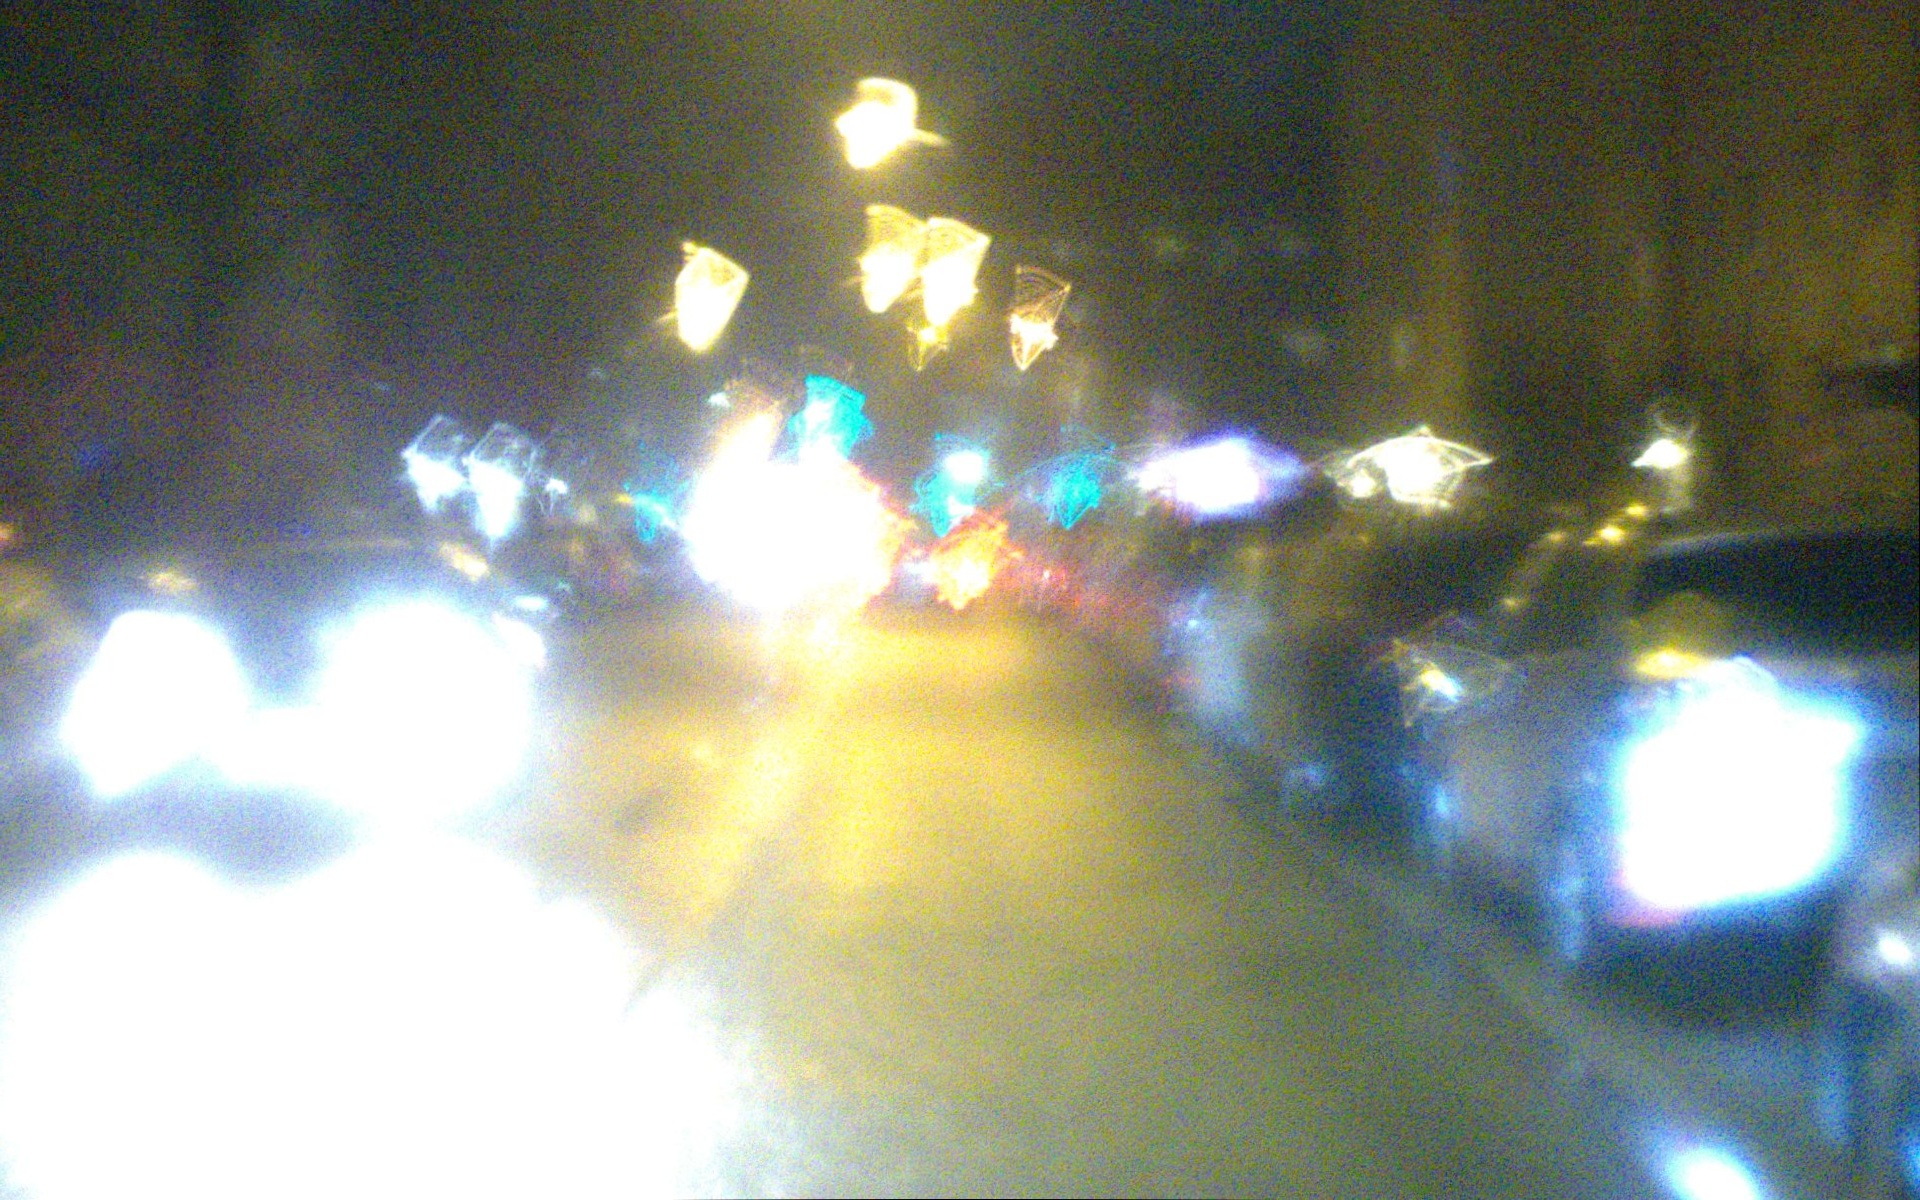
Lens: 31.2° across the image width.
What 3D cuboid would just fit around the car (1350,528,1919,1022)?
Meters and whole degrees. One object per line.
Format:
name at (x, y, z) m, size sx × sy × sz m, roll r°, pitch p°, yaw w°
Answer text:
car at (2.714, 0.517, 12.977) m, size 1.795 × 1.542 × 3.952 m, roll -1°, pitch 1°, yaw -3°

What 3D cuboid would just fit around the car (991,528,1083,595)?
car at (1.680, -0.879, 76.222) m, size 1.822 × 1.417 × 4.489 m, roll -1°, pitch 1°, yaw -1°

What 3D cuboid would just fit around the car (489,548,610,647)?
car at (-6.563, -0.066, 55.253) m, size 1.431 × 1.455 × 3.374 m, roll -3°, pitch 1°, yaw 1°

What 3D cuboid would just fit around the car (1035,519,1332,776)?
car at (1.792, 0.307, 29.438) m, size 1.795 × 1.943 × 5.855 m, roll -1°, pitch 1°, yaw -3°

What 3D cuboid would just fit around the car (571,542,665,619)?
car at (-6.906, -0.414, 69.774) m, size 1.598 × 1.426 × 4.005 m, roll -3°, pitch 1°, yaw -2°

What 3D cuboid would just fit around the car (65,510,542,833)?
car at (-3.444, 0.299, 18.841) m, size 1.706 × 1.534 × 4.370 m, roll -1°, pitch 1°, yaw 1°

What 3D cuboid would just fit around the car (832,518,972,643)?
car at (-0.907, -0.348, 56.650) m, size 2.168 × 1.965 × 4.302 m, roll -1°, pitch 1°, yaw 1°

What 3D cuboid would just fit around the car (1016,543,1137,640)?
car at (1.656, -0.147, 49.688) m, size 1.456 × 1.301 × 3.629 m, roll -1°, pitch 1°, yaw -2°

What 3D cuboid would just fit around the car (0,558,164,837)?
car at (-5.772, 0.511, 18.936) m, size 1.619 × 1.414 × 4.676 m, roll -1°, pitch 1°, yaw 1°

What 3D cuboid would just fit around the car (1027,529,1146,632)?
car at (1.999, -0.353, 55.503) m, size 1.754 × 1.542 × 4.978 m, roll -1°, pitch 1°, yaw 1°

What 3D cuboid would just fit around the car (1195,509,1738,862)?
car at (2.480, 0.341, 18.054) m, size 1.867 × 1.574 × 4.748 m, roll -1°, pitch 1°, yaw -3°

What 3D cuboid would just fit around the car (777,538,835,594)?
car at (-5.971, -1.332, 132.693) m, size 2.034 × 1.947 × 5.201 m, roll -2°, pitch 2°, yaw -4°

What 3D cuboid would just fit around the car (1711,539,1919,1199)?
car at (2.670, 0.630, 5.621) m, size 1.795 × 1.468 × 3.952 m, roll -1°, pitch 1°, yaw -3°

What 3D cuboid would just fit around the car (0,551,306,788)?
car at (-6.084, 0.438, 25.218) m, size 1.666 × 1.534 × 4.391 m, roll -1°, pitch 1°, yaw 1°

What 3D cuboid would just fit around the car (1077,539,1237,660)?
car at (2.546, -0.047, 45.325) m, size 1.674 × 1.482 × 4.280 m, roll -1°, pitch 1°, yaw -2°

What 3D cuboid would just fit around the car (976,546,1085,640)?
car at (1.257, -0.153, 60.420) m, size 1.824 × 1.542 × 4.352 m, roll -1°, pitch 1°, yaw 2°

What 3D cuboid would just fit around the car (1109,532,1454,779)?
car at (2.147, 0.314, 23.974) m, size 1.795 × 1.542 × 3.952 m, roll -1°, pitch 1°, yaw -3°

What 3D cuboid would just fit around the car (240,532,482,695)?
car at (-6.254, 0.092, 36.358) m, size 1.666 × 1.534 × 4.391 m, roll -3°, pitch 1°, yaw 1°
